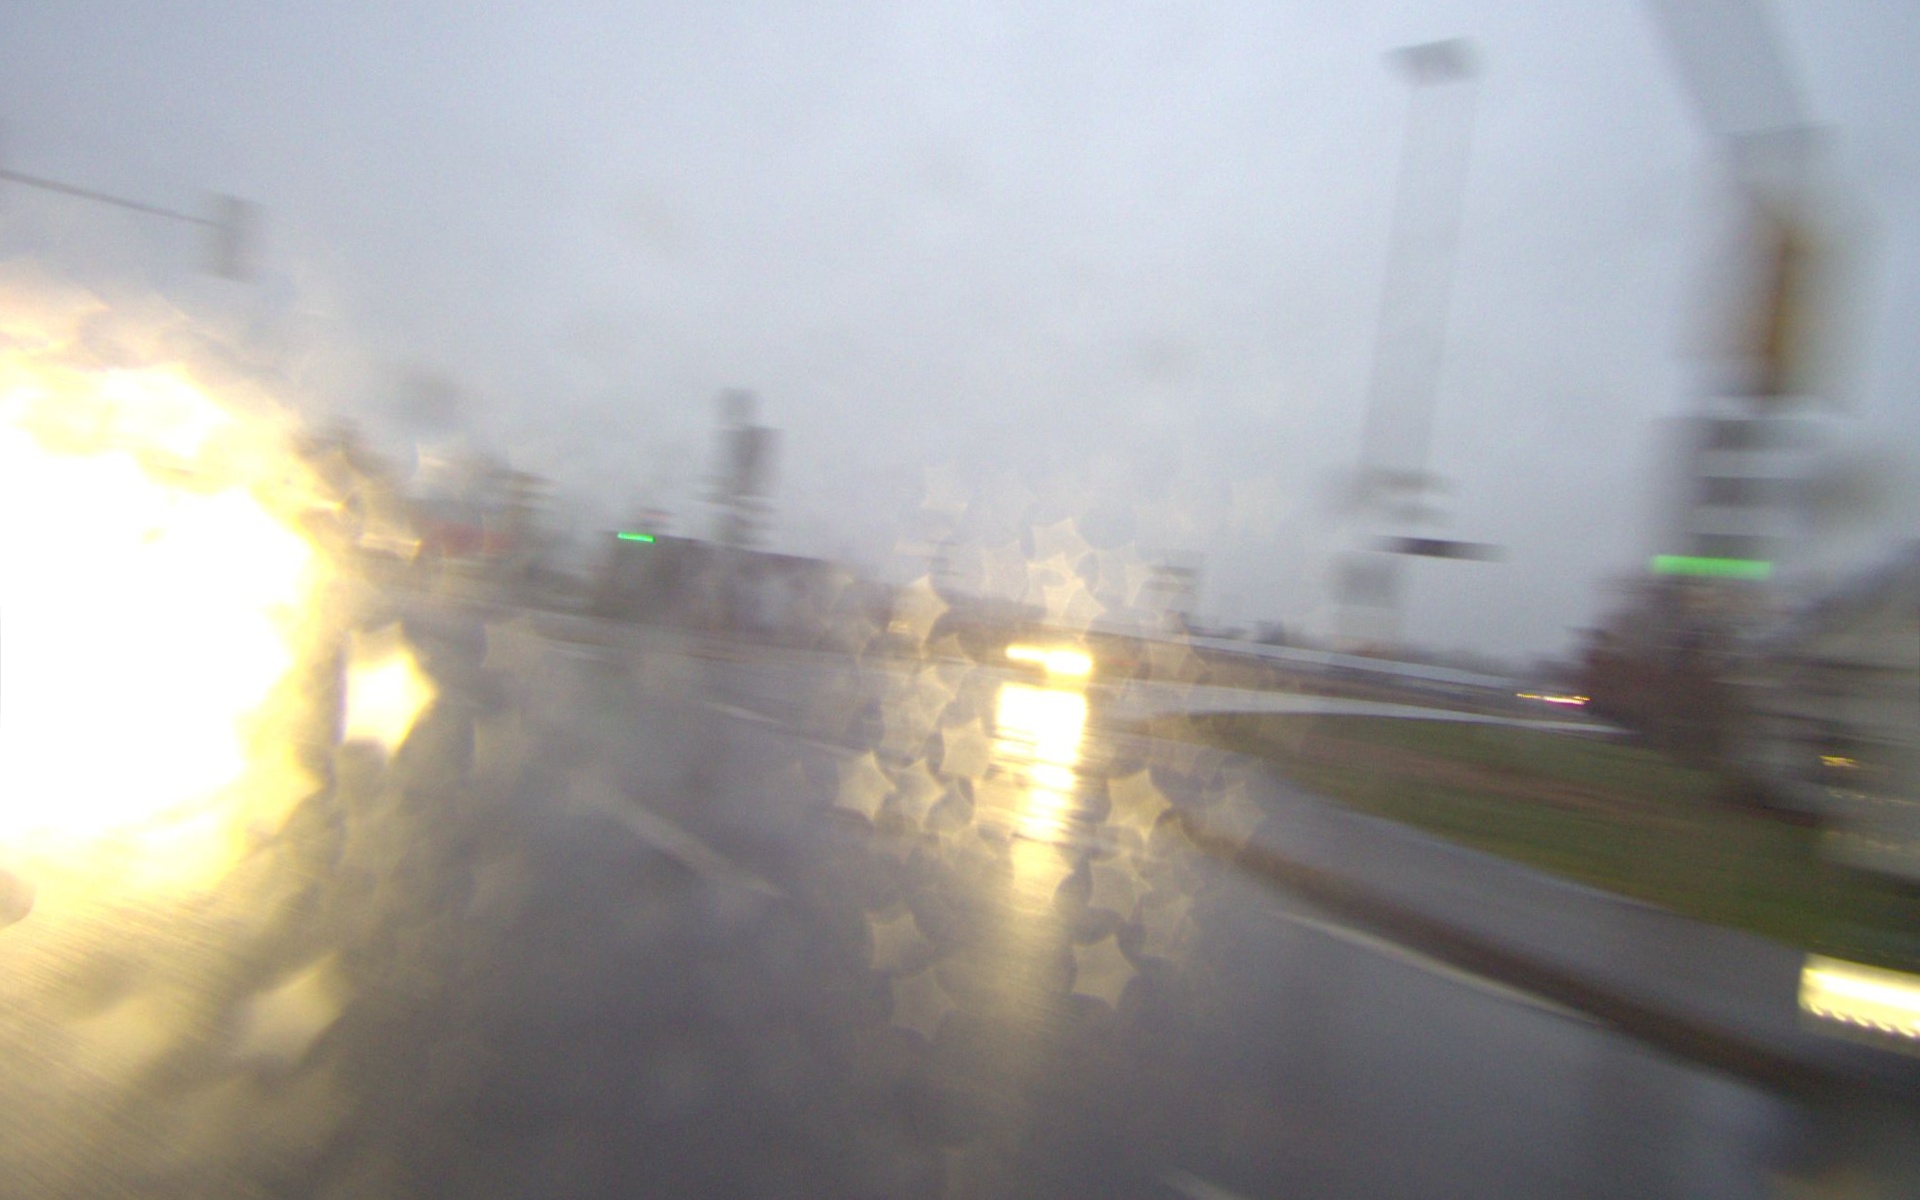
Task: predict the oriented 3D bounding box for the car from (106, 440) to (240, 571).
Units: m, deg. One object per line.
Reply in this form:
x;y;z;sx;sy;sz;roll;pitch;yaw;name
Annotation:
-22.260;-2.616;28.448;2.393;2.924;6.181;10;-2;-39;car

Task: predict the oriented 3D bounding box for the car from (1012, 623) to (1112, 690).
3.238;1.807;31.316;1.785;1.708;3.917;8;-1;24;car

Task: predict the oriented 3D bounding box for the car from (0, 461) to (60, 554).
-20.516;-2.035;21.080;1.983;1.768;3.959;7;0;-37;car

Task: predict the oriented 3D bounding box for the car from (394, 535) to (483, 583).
-27.283;-2.144;52.640;3.956;2.039;1.984;6;1;-31;car

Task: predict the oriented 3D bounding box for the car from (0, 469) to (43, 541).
-26.518;-2.707;27.399;1.819;1.790;3.713;8;0;-38;car

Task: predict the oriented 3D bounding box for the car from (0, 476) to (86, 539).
-30.283;-3.007;33.247;1.713;1.744;3.888;7;-1;-37;car

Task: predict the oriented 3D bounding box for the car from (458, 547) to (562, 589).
-22.919;-1.628;51.328;4.500;1.549;1.760;7;1;-36;car

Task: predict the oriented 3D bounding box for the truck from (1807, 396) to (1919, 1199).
4.953;0.652;0.674;2.452;3.267;6.204;9;-1;-39;truck

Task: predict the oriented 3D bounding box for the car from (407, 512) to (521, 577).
-27.692;-3.057;56.316;1.753;2.906;5.241;7;1;43;car
